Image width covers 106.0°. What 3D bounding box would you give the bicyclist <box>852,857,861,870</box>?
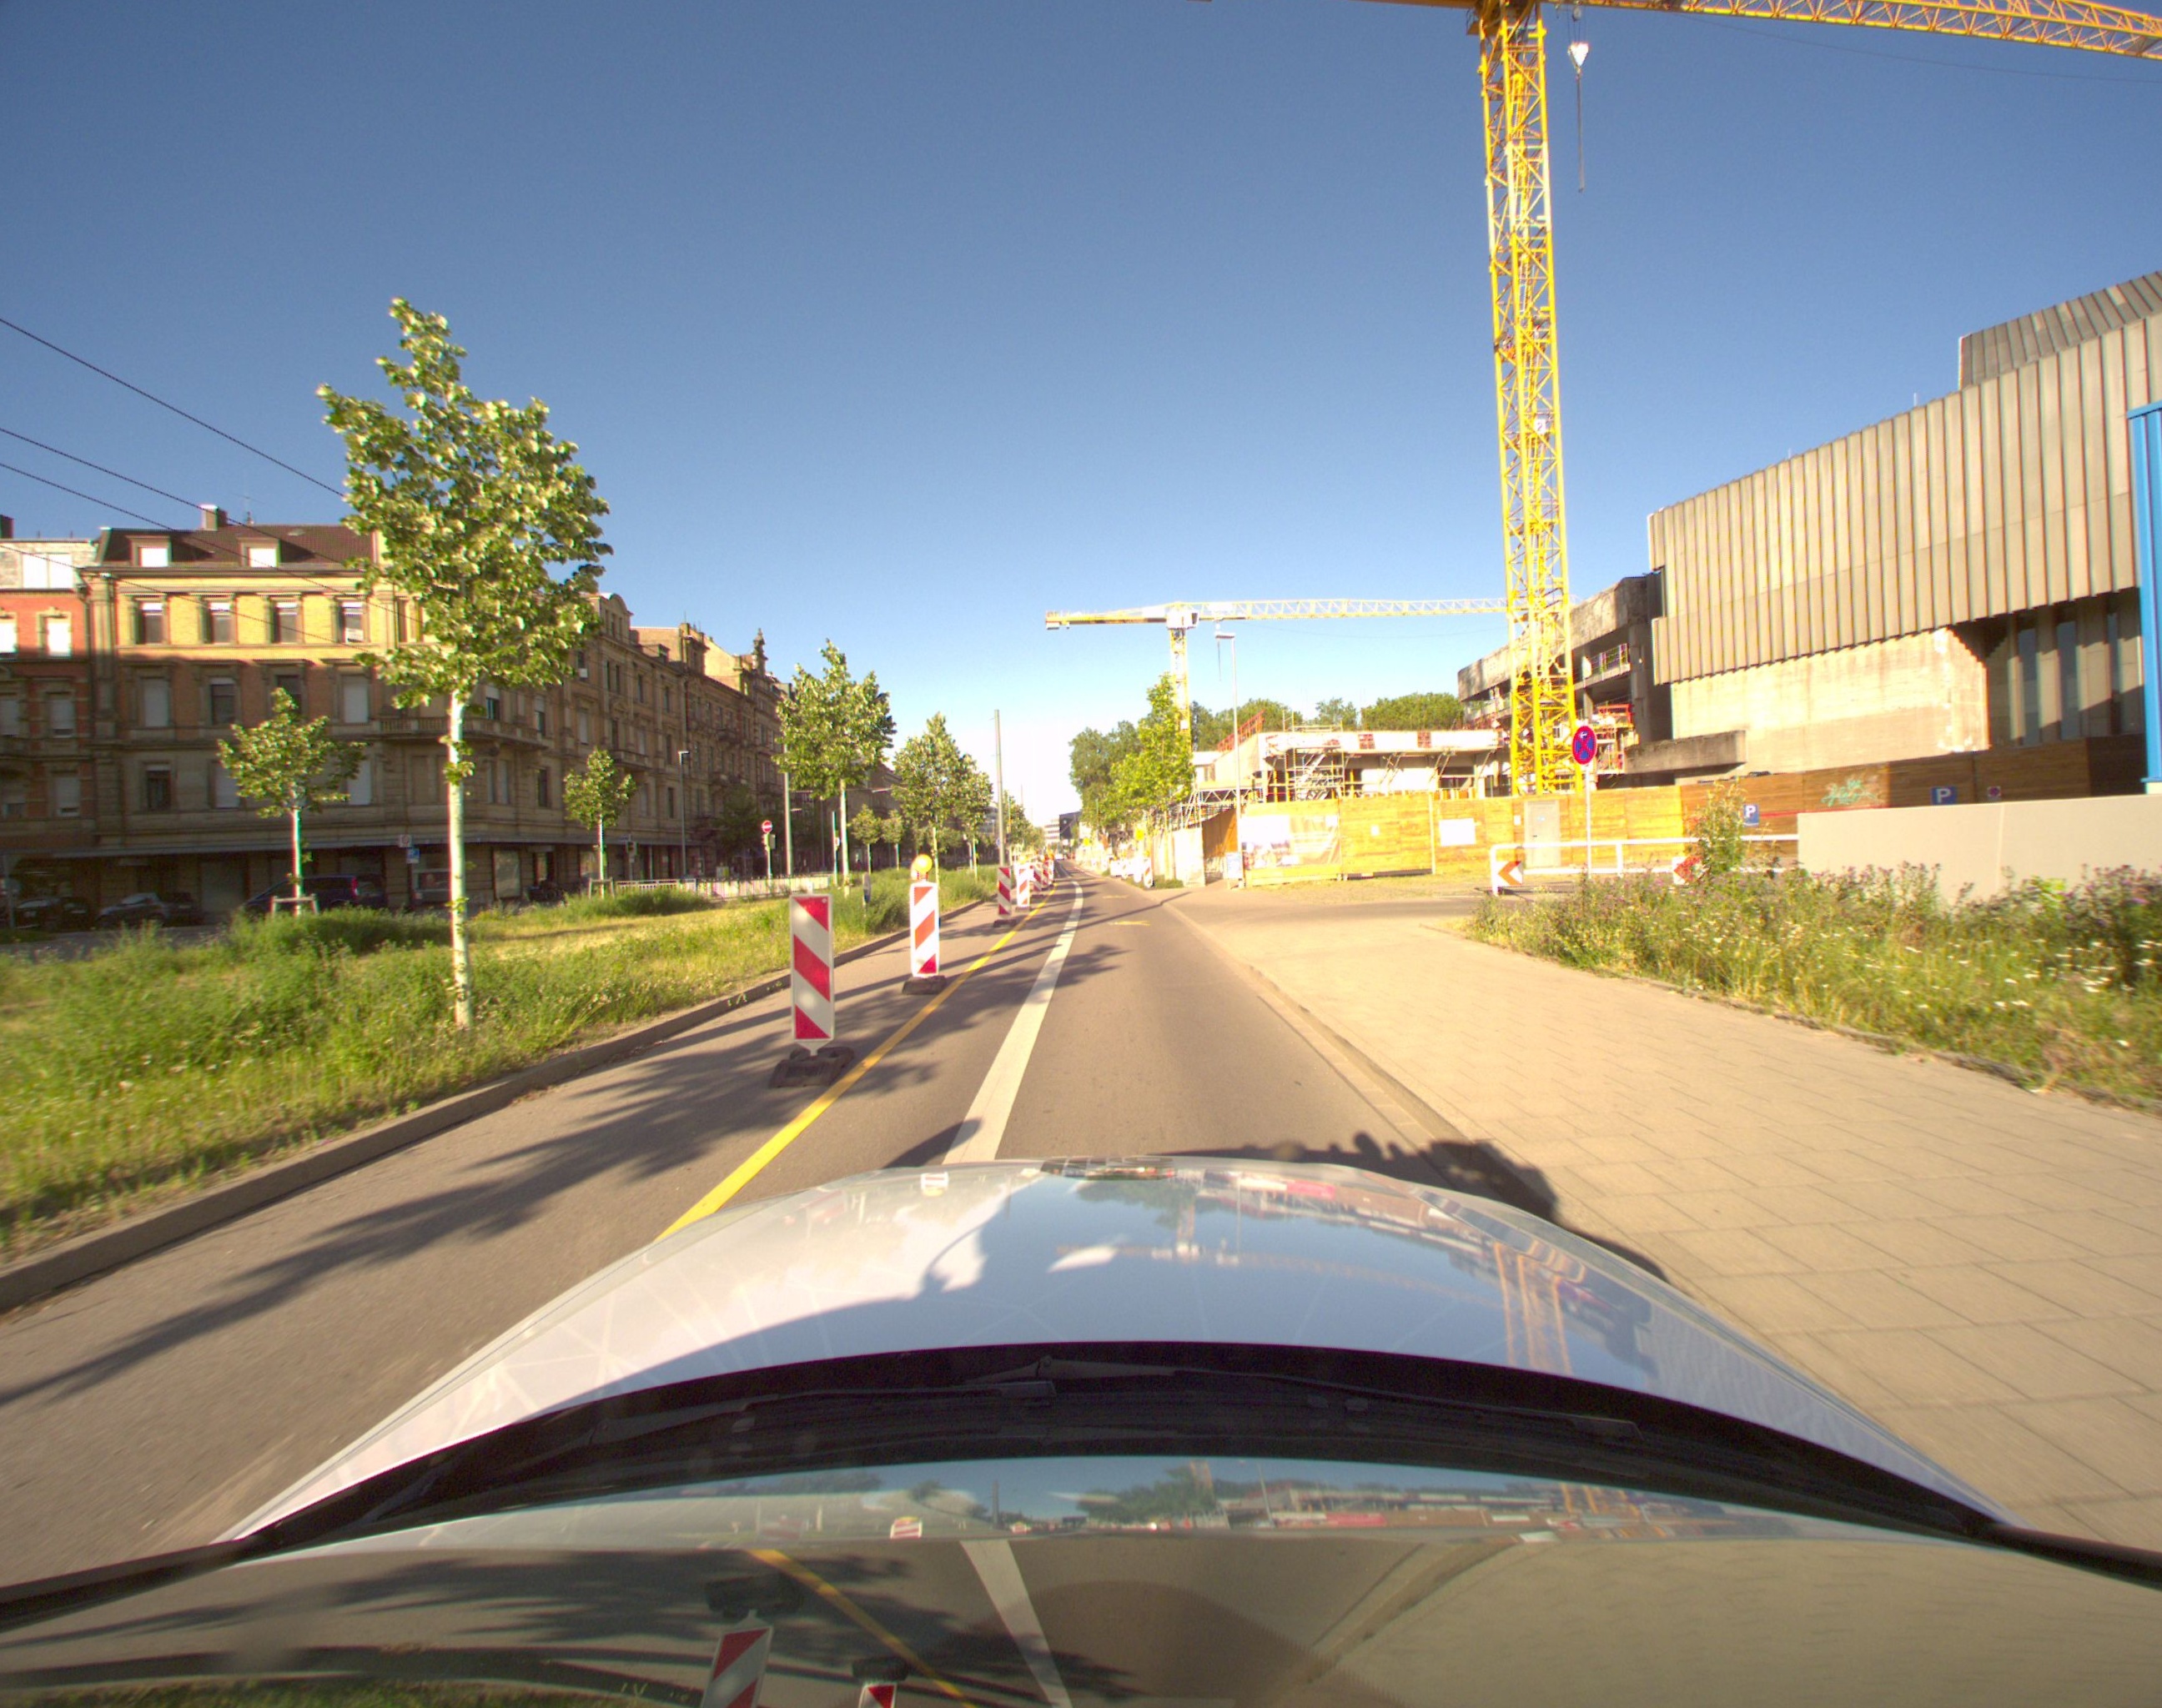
[{"bbox_3d":[-21.988,0.958,79.936,0.635,1.239,0.738,-2,0,-1],"label":"bicyclist"}]

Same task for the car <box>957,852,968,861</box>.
[{"bbox_3d":[-21.843,0.474,150.427,1.590,1.483,3.622,-2,0,0],"label":"car"}]

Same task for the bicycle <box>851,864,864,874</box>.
[{"bbox_3d":[-21.967,1.450,80.106,0.635,0.857,2.030,-2,0,-1],"label":"bicycle"}]

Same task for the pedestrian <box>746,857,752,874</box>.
[{"bbox_3d":[-30.787,1.096,75.476,0.381,1.585,0.393,-1,0,28],"label":"pedestrian"}]

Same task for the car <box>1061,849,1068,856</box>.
[{"bbox_3d":[-4.693,-0.346,237.435,1.878,1.842,3.665,-3,1,-2],"label":"car"}]

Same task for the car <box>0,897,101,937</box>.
[{"bbox_3d":[-43.830,2.662,34.239,3.050,1.409,1.577,-3,0,-7],"label":"car"}]

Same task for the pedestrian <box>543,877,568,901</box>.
[{"bbox_3d":[-28.663,1.888,44.408,0.688,1.246,0.929,-2,0,-1],"label":"pedestrian"}]

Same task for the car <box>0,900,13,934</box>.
[{"bbox_3d":[-46.987,2.742,33.735,3.050,1.409,1.577,-3,0,-7],"label":"car"}]

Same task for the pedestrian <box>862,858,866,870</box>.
[{"bbox_3d":[-29.691,1.387,111.589,0.433,1.585,0.385,0,0,-4],"label":"pedestrian"}]

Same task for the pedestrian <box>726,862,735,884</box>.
[{"bbox_3d":[-27.858,1.501,64.707,0.506,1.764,0.406,-1,0,-2],"label":"pedestrian"}]

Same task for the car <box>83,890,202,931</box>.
[{"bbox_3d":[-39.828,2.383,34.607,3.141,1.468,1.381,-3,0,-7],"label":"car"}]

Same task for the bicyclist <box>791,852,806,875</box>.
[{"bbox_3d":[-21.269,0.708,61.319,0.693,1.657,0.882,-2,0,-1],"label":"bicyclist"}]

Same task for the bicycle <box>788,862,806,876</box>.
[{"bbox_3d":[-21.238,1.146,60.980,0.693,0.978,1.826,-2,0,-1],"label":"bicycle"}]

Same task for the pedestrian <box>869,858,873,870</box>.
[{"bbox_3d":[-28.822,1.410,111.553,0.427,1.585,0.339,-1,0,-1],"label":"pedestrian"}]

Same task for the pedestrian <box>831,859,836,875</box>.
[{"bbox_3d":[-28.248,1.462,92.937,0.366,1.764,0.406,-1,0,-2],"label":"pedestrian"}]

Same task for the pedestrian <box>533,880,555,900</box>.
[{"bbox_3d":[-29.612,1.985,44.911,0.688,1.059,0.735,-2,0,-1],"label":"pedestrian"}]

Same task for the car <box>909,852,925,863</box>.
[{"bbox_3d":[-24.595,0.543,122.524,1.563,1.562,4.710,-3,1,-2],"label":"car"}]

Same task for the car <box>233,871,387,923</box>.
[{"bbox_3d":[-33.306,1.815,35.300,4.505,1.903,1.894,-3,0,-7],"label":"car"}]

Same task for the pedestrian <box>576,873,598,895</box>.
[{"bbox_3d":[-28.859,1.726,47.598,0.688,1.208,0.929,-2,0,-1],"label":"pedestrian"}]

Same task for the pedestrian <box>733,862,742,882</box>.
[{"bbox_3d":[-26.649,1.384,63.230,0.485,1.585,0.533,-1,0,-2],"label":"pedestrian"}]

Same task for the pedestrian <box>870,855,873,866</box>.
[{"bbox_3d":[-28.729,0.878,111.629,0.404,1.532,0.434,-1,0,-2],"label":"pedestrian"}]

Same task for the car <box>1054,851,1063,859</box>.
[{"bbox_3d":[-5.366,0.231,195.085,1.878,1.842,3.665,-3,1,-2],"label":"car"}]

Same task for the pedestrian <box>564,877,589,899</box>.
[{"bbox_3d":[-28.636,1.928,46.266,0.789,1.208,0.929,-2,0,-1],"label":"pedestrian"}]
